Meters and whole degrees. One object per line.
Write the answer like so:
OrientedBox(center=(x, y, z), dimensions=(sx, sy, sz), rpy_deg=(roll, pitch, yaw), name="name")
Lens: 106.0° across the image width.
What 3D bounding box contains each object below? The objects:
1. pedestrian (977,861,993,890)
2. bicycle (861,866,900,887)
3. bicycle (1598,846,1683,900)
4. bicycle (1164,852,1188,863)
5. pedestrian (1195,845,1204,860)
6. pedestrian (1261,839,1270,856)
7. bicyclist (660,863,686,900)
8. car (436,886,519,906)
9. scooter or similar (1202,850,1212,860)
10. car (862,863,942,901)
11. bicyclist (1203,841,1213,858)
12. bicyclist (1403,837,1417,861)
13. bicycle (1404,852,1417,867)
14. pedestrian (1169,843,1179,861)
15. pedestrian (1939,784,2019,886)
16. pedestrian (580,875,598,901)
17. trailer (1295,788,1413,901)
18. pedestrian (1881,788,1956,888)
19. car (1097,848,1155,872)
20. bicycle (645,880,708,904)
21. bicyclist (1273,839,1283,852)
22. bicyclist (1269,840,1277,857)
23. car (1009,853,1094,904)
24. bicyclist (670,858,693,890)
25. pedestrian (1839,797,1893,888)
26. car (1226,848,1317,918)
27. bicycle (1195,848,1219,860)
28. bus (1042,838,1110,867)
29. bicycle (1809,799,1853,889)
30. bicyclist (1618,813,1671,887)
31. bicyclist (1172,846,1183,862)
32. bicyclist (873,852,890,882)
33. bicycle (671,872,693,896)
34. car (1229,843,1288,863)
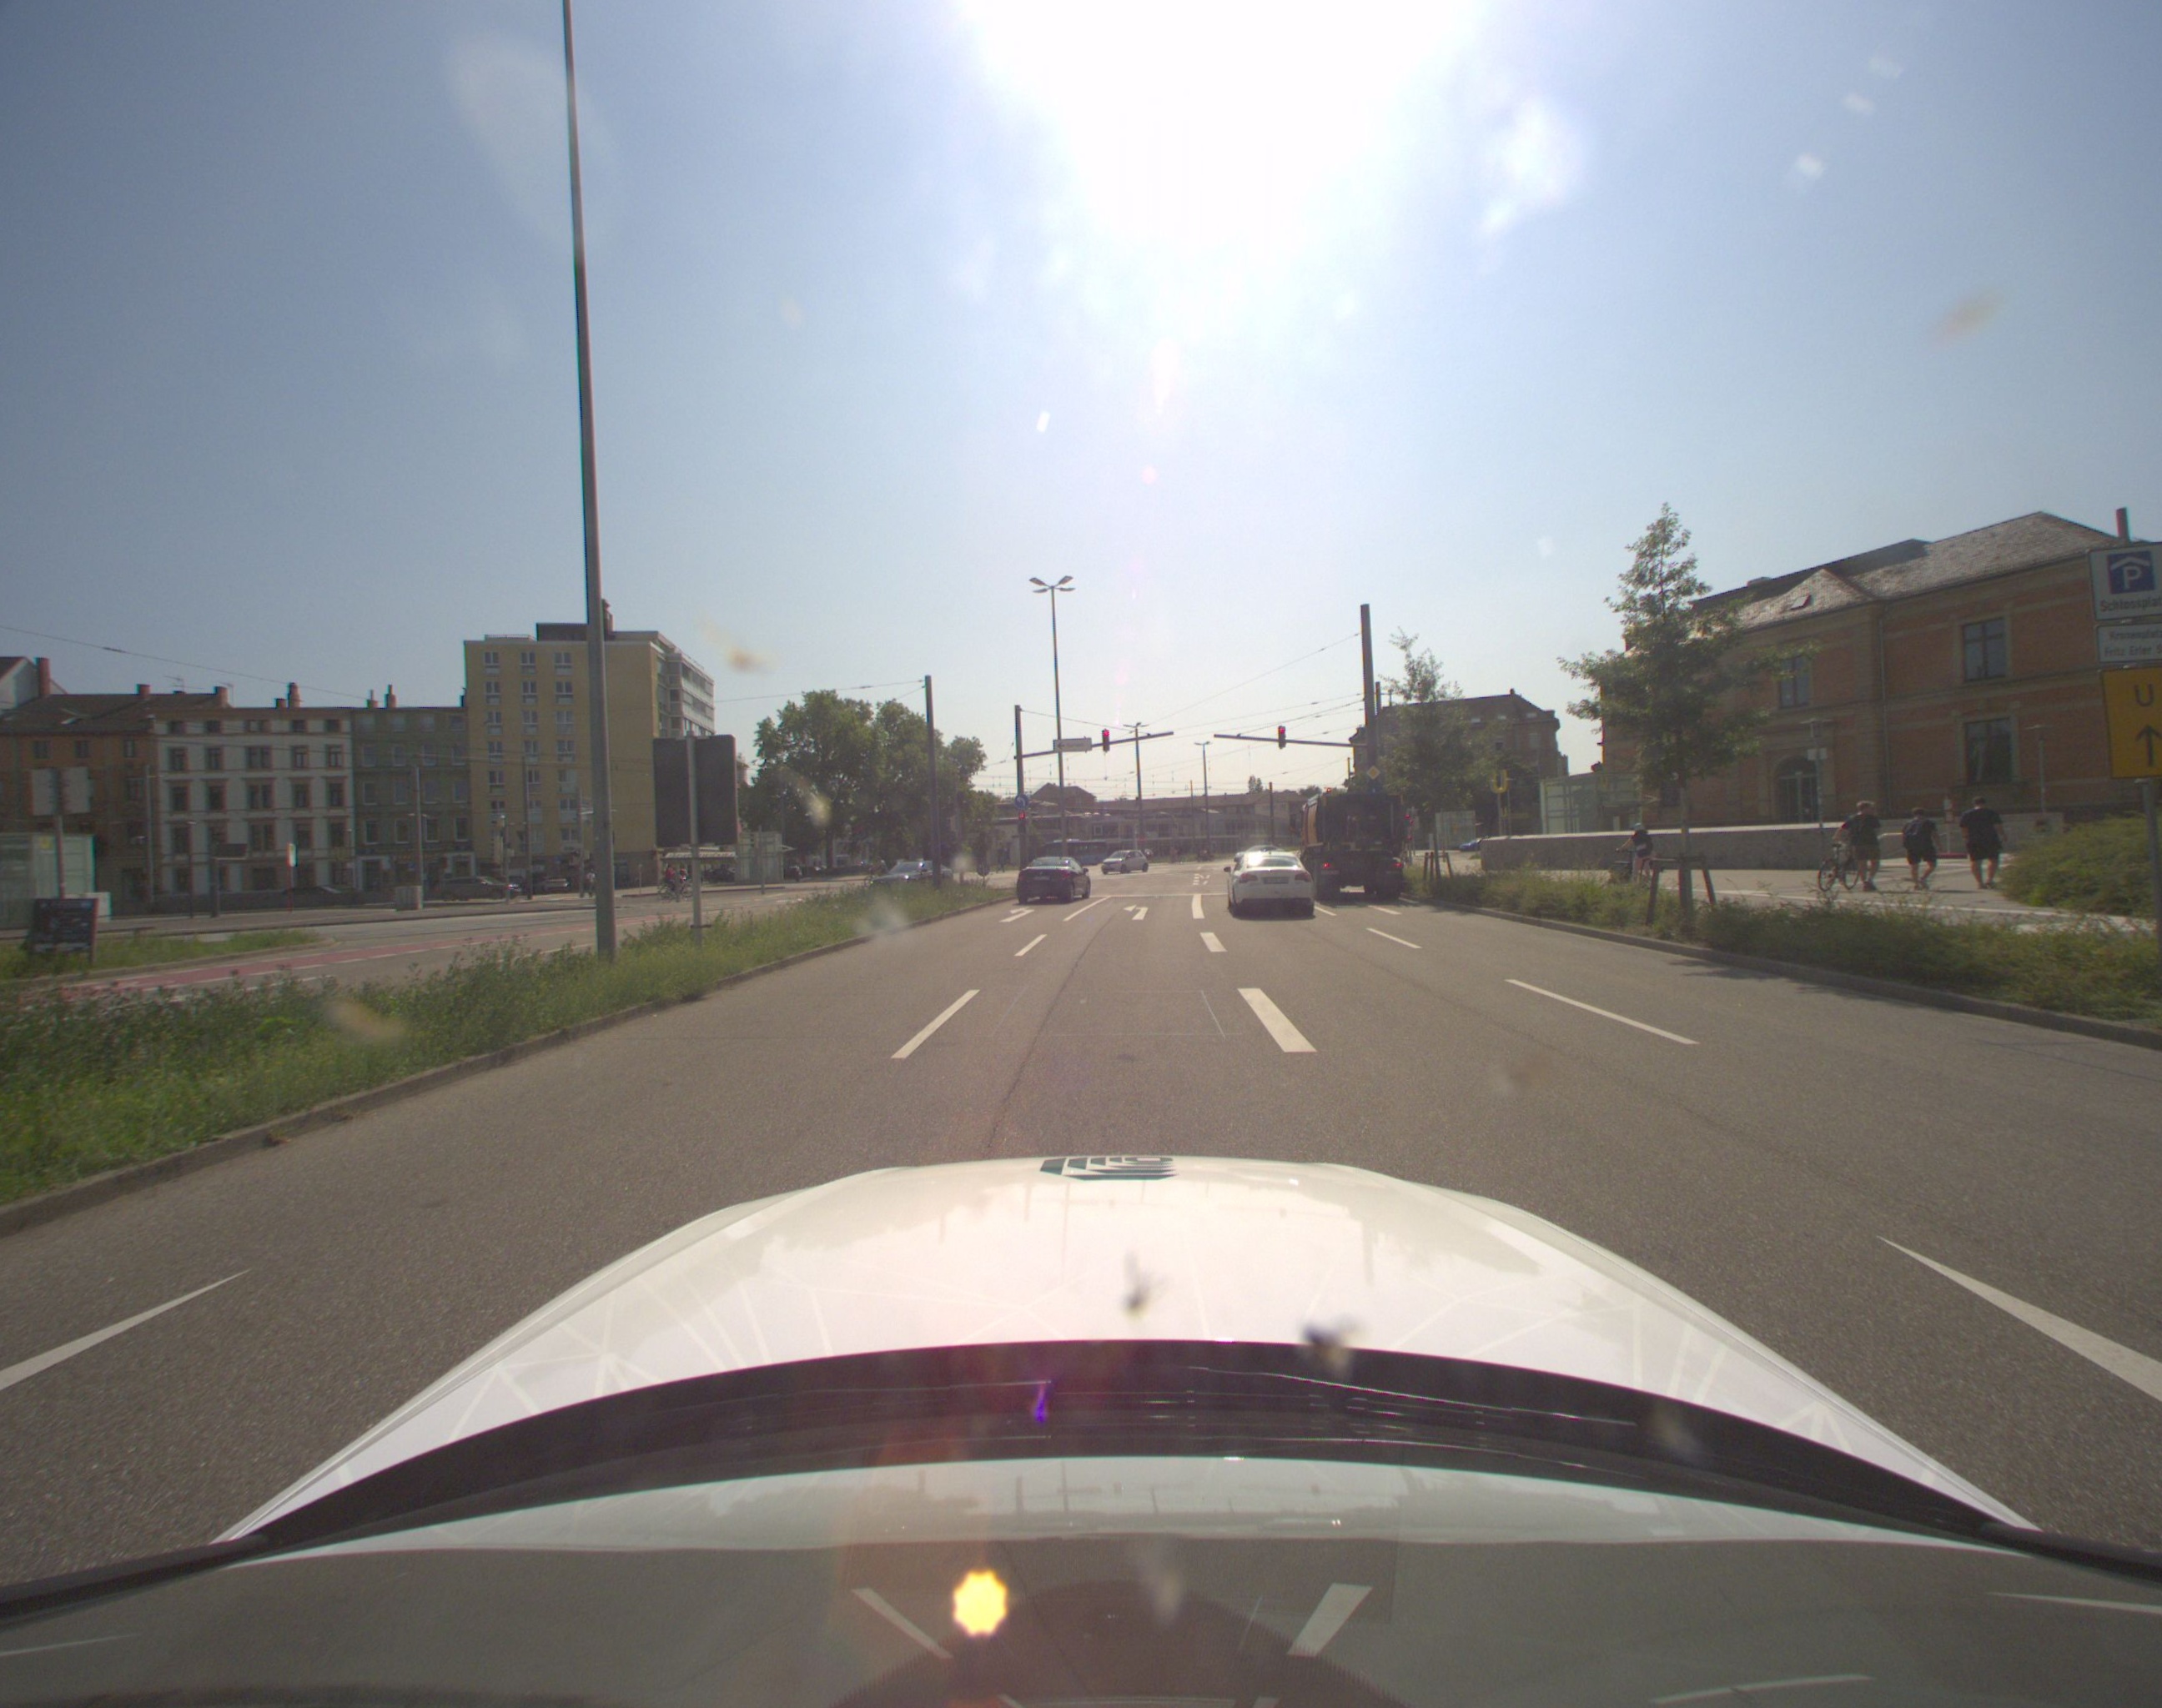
OrientedBox(center=(-4.287, 0.954, 36.375), dimensions=(0.596, 1.268, 0.503), rpy_deg=(-3, 2, -11), name="pedestrian")
OrientedBox(center=(-11.424, 1.276, 46.478), dimensions=(0.690, 1.137, 2.056), rpy_deg=(-3, 0, 42), name="bicycle")
OrientedBox(center=(11.959, 0.382, 17.482), dimensions=(0.554, 1.060, 2.006), rpy_deg=(-3, 0, 5), name="bicycle")
OrientedBox(center=(9.565, 0.347, 81.839), dimensions=(2.198, 1.087, 0.760), rpy_deg=(-3, 0, -12), name="bicycle")
OrientedBox(center=(12.219, -0.140, 83.936), dimensions=(0.634, 1.561, 0.746), rpy_deg=(-2, 0, -7), name="pedestrian")
OrientedBox(center=(19.479, -0.697, 85.979), dimensions=(0.621, 1.752, 0.627), rpy_deg=(-2, 0, -4), name="pedestrian")
OrientedBox(center=(-18.388, 1.227, 36.695), dimensions=(0.839, 1.642, 0.605), rpy_deg=(-3, 0, -10), name="bicyclist")
OrientedBox(center=(-38.898, 2.689, 52.612), dimensions=(3.890, 0.987, 1.707), rpy_deg=(-3, 0, -16), name="car")
OrientedBox(center=(12.982, 0.105, 84.046), dimensions=(0.835, 0.974, 0.791), rpy_deg=(-3, 0, -7), name="scooter or similar")
OrientedBox(center=(-7.606, 1.159, 35.115), dimensions=(1.760, 1.411, 4.777), rpy_deg=(-2, 0, 8), name="car")
OrientedBox(center=(12.909, -0.477, 82.879), dimensions=(0.761, 1.634, 0.761), rpy_deg=(-2, 0, -8), name="bicyclist")
OrientedBox(center=(18.894, -0.292, 46.787), dimensions=(0.668, 1.320, 0.687), rpy_deg=(-3, 0, 21), name="bicyclist")
OrientedBox(center=(18.921, 0.332, 46.773), dimensions=(0.668, 0.776, 2.139), rpy_deg=(-3, 0, 22), name="bicycle")
OrientedBox(center=(9.555, -0.184, 83.602), dimensions=(0.776, 1.752, 0.813), rpy_deg=(-3, 0, 22), name="pedestrian")
OrientedBox(center=(18.067, -0.372, 16.407), dimensions=(0.771, 1.973, 0.758), rpy_deg=(-3, 0, 22), name="pedestrian")
OrientedBox(center=(-31.464, 2.163, 52.088), dimensions=(0.648, 1.633, 0.812), rpy_deg=(-3, 0, -10), name="pedestrian")
OrientedBox(center=(8.185, -0.268, 25.118), dimensions=(2.448, 3.007, 6.342), rpy_deg=(-1, 0, 10), name="trailer")
OrientedBox(center=(17.177, -0.326, 16.722), dimensions=(0.771, 1.973, 0.758), rpy_deg=(-3, 0, 22), name="pedestrian")
OrientedBox(center=(3.073, 0.419, 55.079), dimensions=(1.753, 1.425, 4.092), rpy_deg=(-3, 0, 40), name="car")
OrientedBox(center=(-18.221, 1.698, 36.722), dimensions=(2.410, 0.953, 0.601), rpy_deg=(-3, 0, -11), name="bicycle")
OrientedBox(center=(20.486, -0.864, 84.737), dimensions=(0.670, 1.350, 0.707), rpy_deg=(-2, 0, -18), name="bicyclist")
OrientedBox(center=(18.118, -0.533, 76.888), dimensions=(0.659, 1.509, 0.718), rpy_deg=(-3, 0, 18), name="bicyclist")
OrientedBox(center=(-0.847, 0.720, 25.786), dimensions=(1.746, 1.404, 3.993), rpy_deg=(-2, 0, 11), name="car")
OrientedBox(center=(-21.101, 1.050, 43.030), dimensions=(0.977, 1.654, 0.657), rpy_deg=(-3, 0, -26), name="bicyclist")
OrientedBox(center=(16.633, -0.243, 17.278), dimensions=(0.653, 1.860, 0.798), rpy_deg=(-3, 0, 36), name="pedestrian")
OrientedBox(center=(4.549, 0.625, 20.000), dimensions=(1.748, 1.455, 4.436), rpy_deg=(-2, 0, 8), name="car")
OrientedBox(center=(12.807, 0.012, 82.865), dimensions=(2.196, 1.087, 0.761), rpy_deg=(-3, 0, -9), name="bicycle")
OrientedBox(center=(-0.358, -0.247, 91.827), dimensions=(3.026, 2.931, 11.920), rpy_deg=(-3, 0, 24), name="bus")
OrientedBox(center=(16.037, -0.223, 17.436), dimensions=(0.451, 1.860, 1.372), rpy_deg=(-3, 0, 35), name="bicycle")
OrientedBox(center=(11.922, -0.087, 17.255), dimensions=(0.546, 1.496, 0.805), rpy_deg=(-3, 0, 5), name="bicyclist")
OrientedBox(center=(9.706, 0.024, 81.874), dimensions=(0.798, 1.541, 0.760), rpy_deg=(-2, 0, -12), name="bicyclist")
OrientedBox(center=(-11.387, 0.730, 46.538), dimensions=(0.684, 1.650, 0.623), rpy_deg=(-2, 0, 41), name="bicyclist")
OrientedBox(center=(-21.088, 1.551, 43.061), dimensions=(0.977, 1.178, 2.808), rpy_deg=(-3, 0, -25), name="bicycle")
OrientedBox(center=(14.247, -0.100, 65.128), dimensions=(4.606, 1.400, 1.925), rpy_deg=(-3, 0, -34), name="car")
